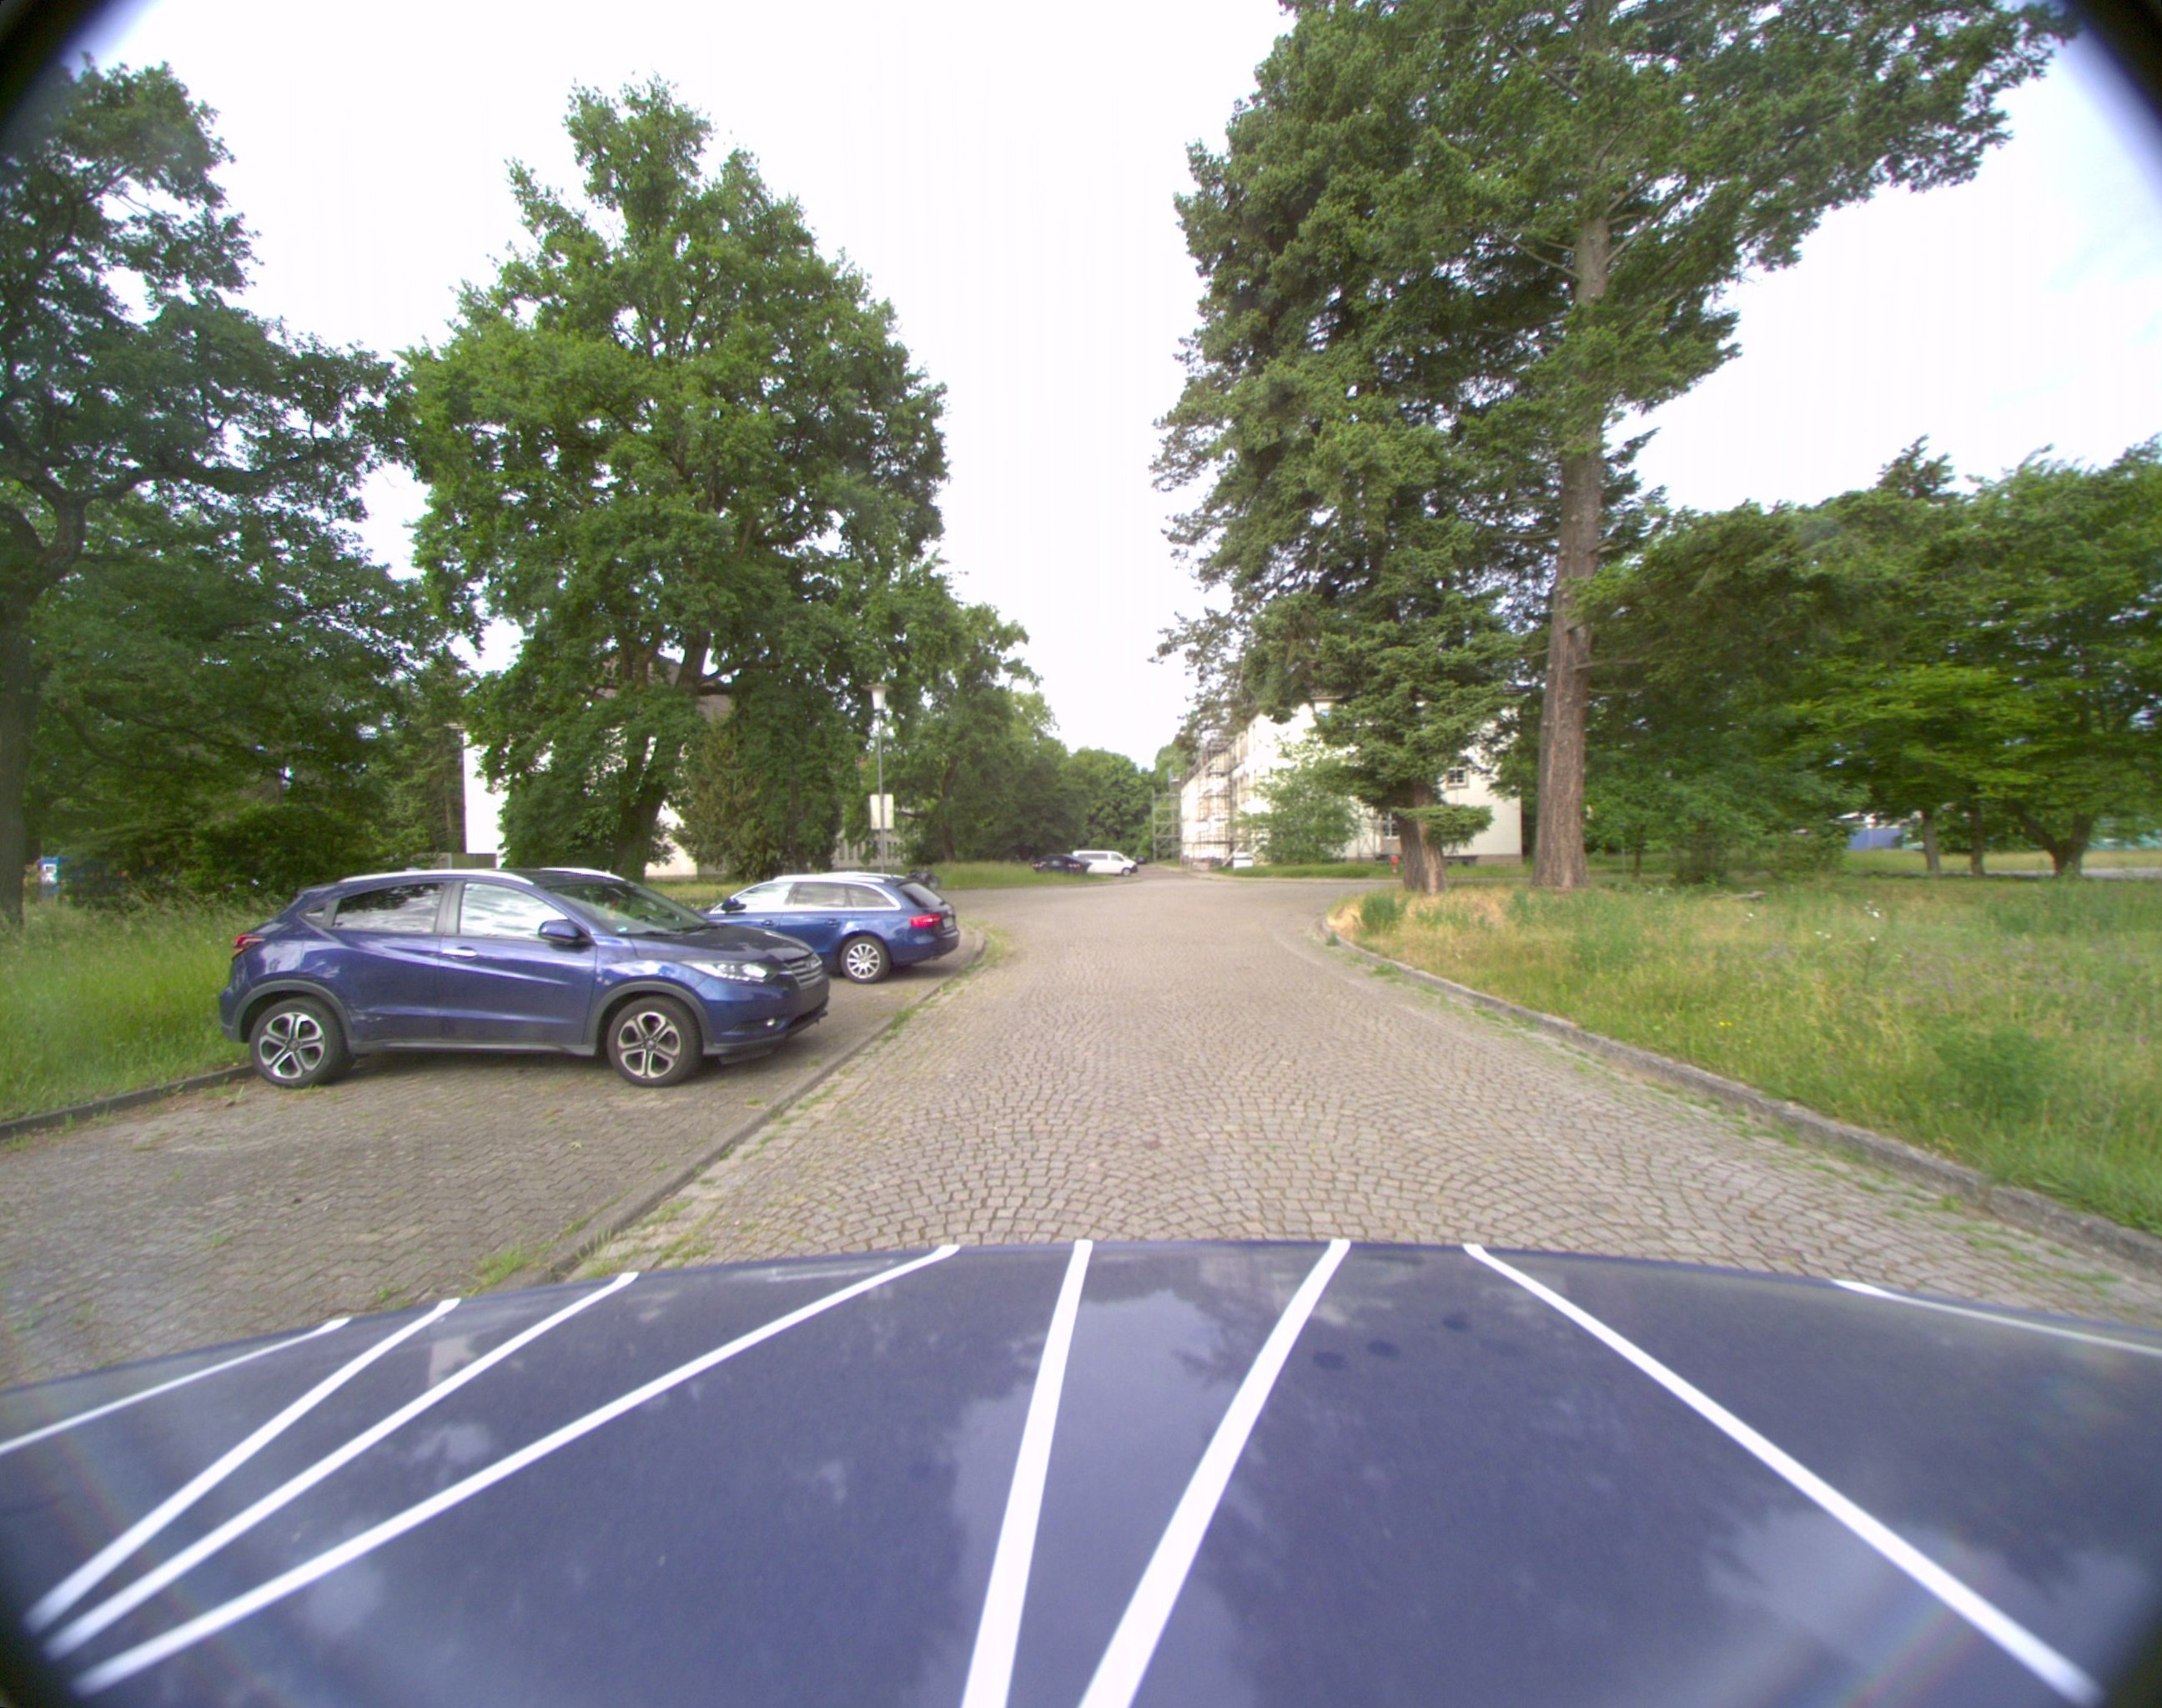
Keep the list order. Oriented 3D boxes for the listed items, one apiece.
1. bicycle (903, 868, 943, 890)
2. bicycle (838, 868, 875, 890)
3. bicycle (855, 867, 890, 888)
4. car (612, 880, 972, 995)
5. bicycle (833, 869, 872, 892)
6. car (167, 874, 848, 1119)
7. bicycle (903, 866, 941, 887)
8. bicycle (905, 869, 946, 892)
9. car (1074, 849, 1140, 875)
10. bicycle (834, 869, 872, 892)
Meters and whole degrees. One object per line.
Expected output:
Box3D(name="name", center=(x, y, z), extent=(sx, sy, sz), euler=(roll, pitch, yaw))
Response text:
Box3D(name="bicycle", center=(-8.577, 1.332, 41.212), extent=(1.976, 1.070, 0.587), euler=(-2, 1, -25))
Box3D(name="bicycle", center=(-12.495, 1.406, 42.264), extent=(1.859, 1.116, 0.621), euler=(-2, 1, -21))
Box3D(name="bicycle", center=(-12.212, 1.371, 44.475), extent=(1.859, 1.116, 0.621), euler=(-2, 1, -21))
Box3D(name="car", center=(-3.976, 1.123, 10.887), extent=(4.479, 1.413, 1.785), euler=(0, 0, 5))
Box3D(name="bicycle", center=(-12.016, 1.398, 39.976), extent=(1.859, 1.116, 0.621), euler=(-2, 1, -21))
Box3D(name="car", center=(-4.298, 1.036, 6.195), extent=(4.172, 1.563, 1.793), euler=(-1, 1, 2))
Box3D(name="bicycle", center=(-9.079, 1.292, 43.335), extent=(2.031, 1.070, 0.621), euler=(-2, 1, -21))
Box3D(name="bicycle", center=(-8.117, 1.356, 39.614), extent=(1.976, 1.070, 0.587), euler=(-2, 1, -25))
Box3D(name="car", center=(2.011, 0.601, 59.563), extent=(5.100, 2.007, 2.055), euler=(0, 1, 1))
Box3D(name="bicycle", center=(-12.195, 1.402, 40.593), extent=(1.859, 1.116, 0.621), euler=(-2, 1, -21))
